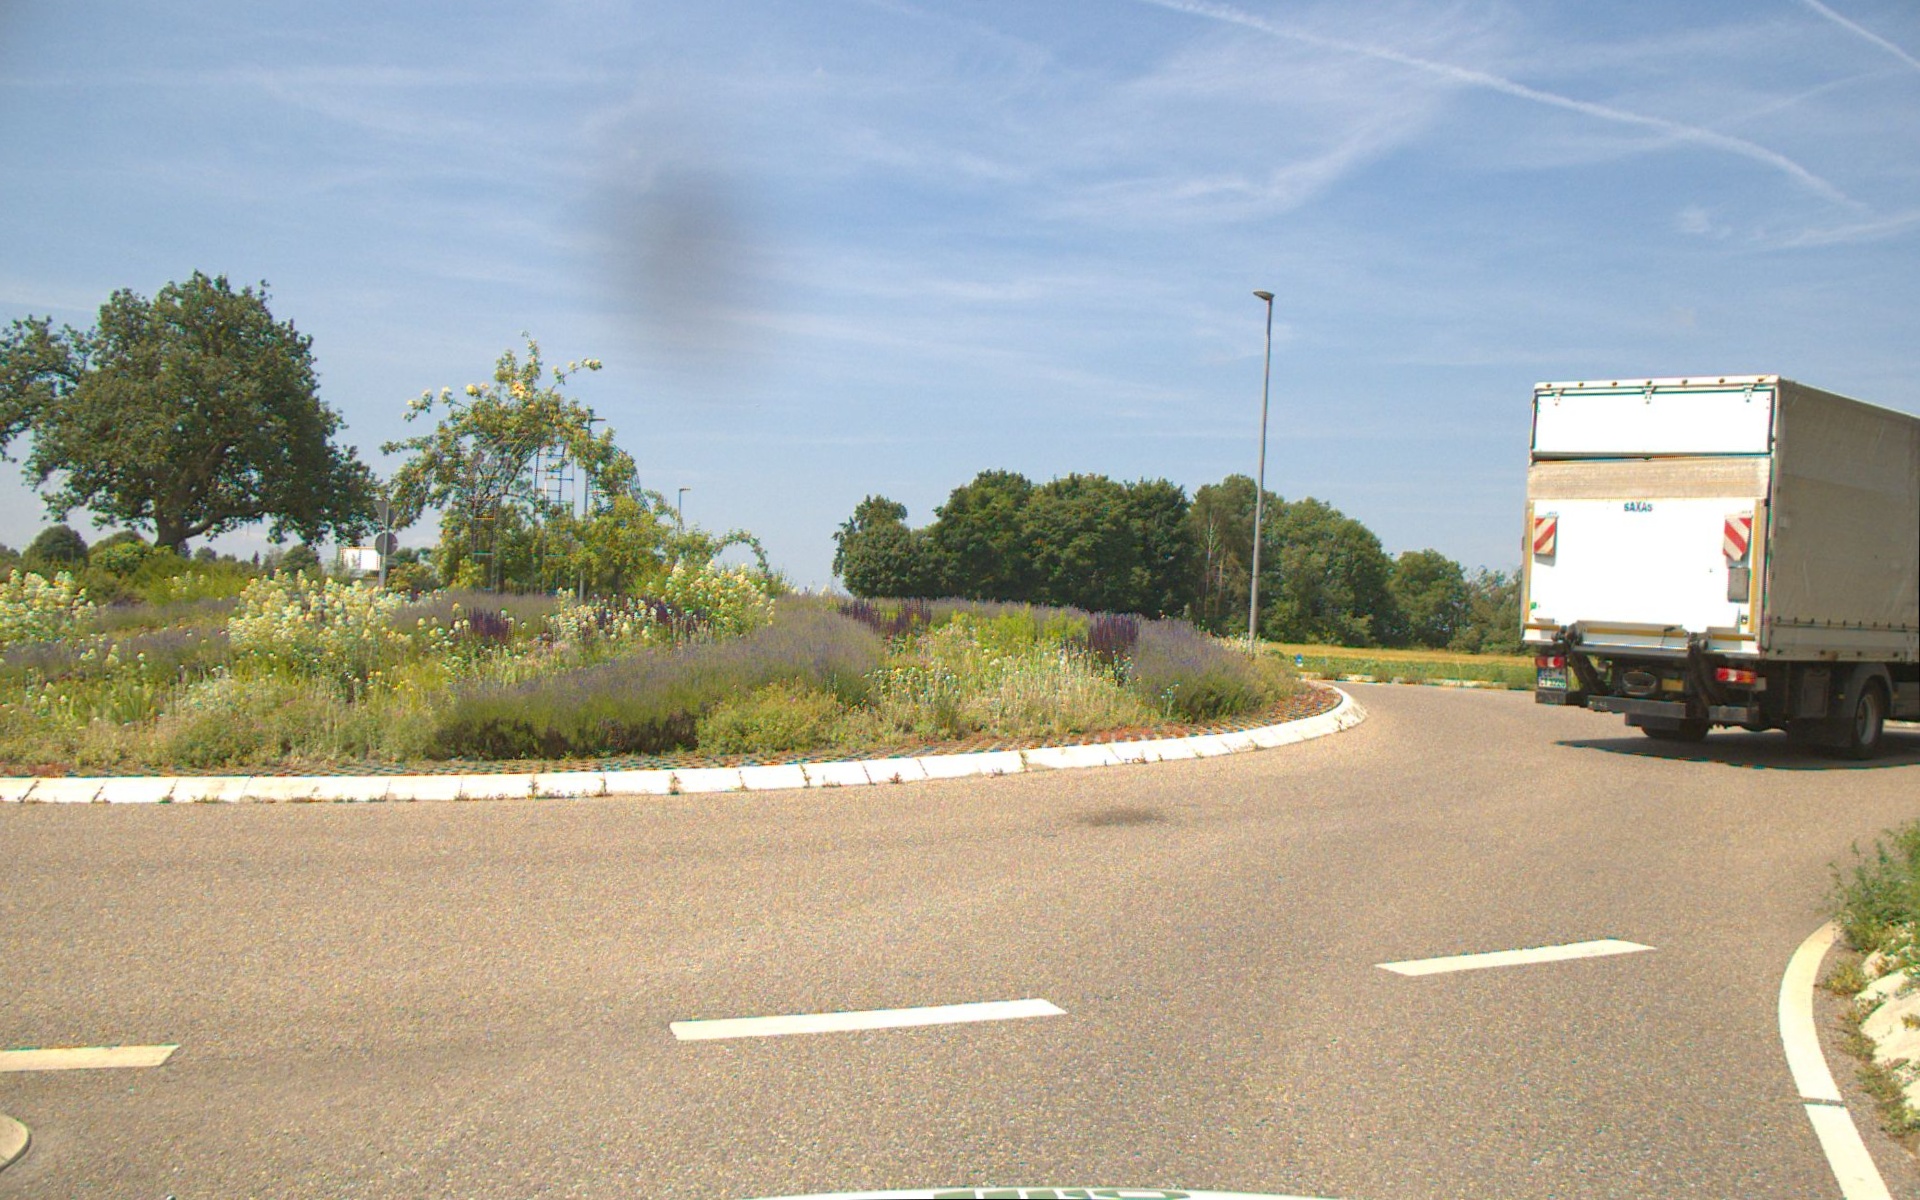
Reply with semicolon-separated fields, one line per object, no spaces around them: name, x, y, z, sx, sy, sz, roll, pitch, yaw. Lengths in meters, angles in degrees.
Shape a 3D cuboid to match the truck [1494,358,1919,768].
truck;9.968;-0.351;19.216;9.300;3.734;2.735;1;2;-42
